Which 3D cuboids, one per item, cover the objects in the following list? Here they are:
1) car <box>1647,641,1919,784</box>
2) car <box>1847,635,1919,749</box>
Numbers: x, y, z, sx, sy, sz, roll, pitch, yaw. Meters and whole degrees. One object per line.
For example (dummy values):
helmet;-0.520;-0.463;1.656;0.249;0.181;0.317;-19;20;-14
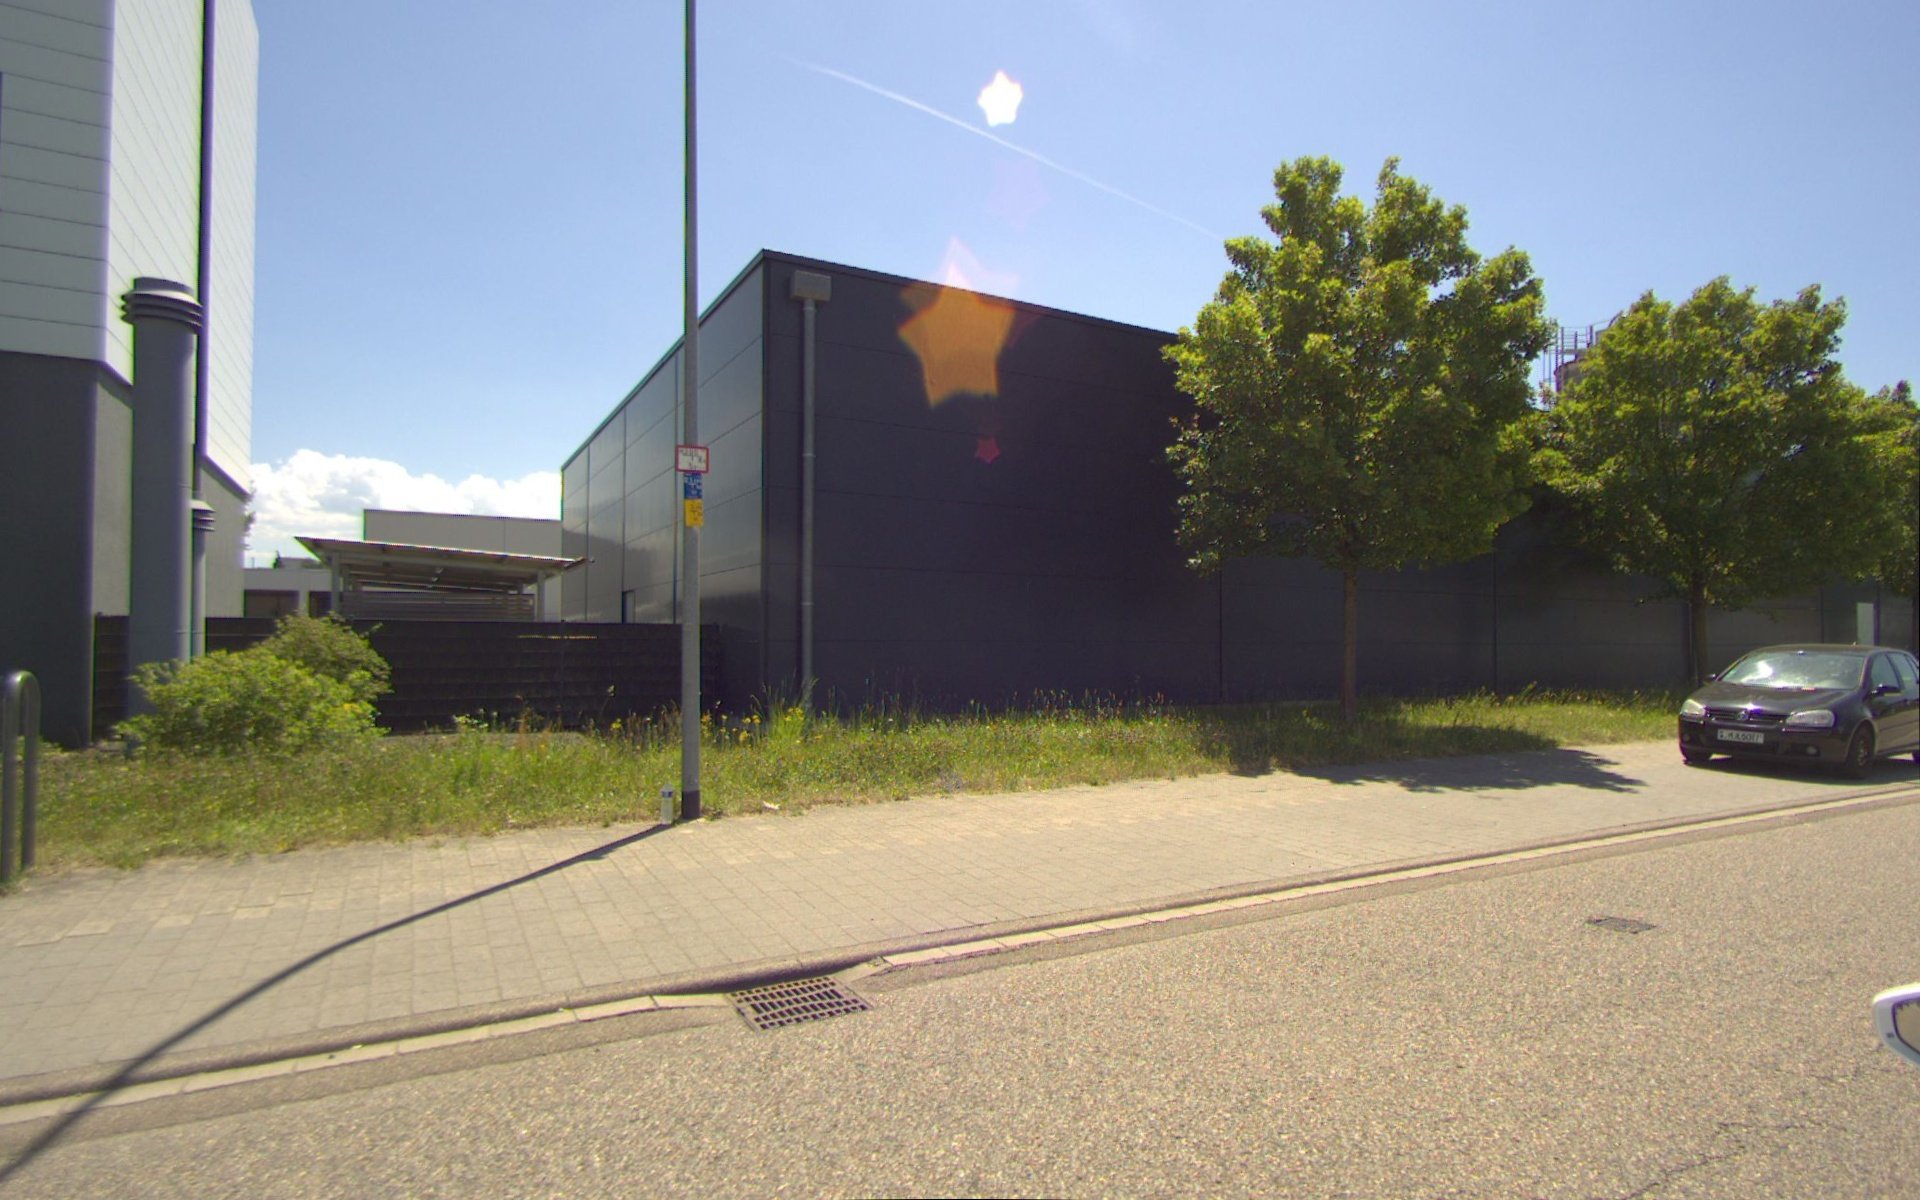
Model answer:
car;10.617;1.303;12.525;4.151;1.450;1.762;2;-1;-30
car;15.896;1.390;15.658;4.797;1.633;1.762;2;-2;-31
